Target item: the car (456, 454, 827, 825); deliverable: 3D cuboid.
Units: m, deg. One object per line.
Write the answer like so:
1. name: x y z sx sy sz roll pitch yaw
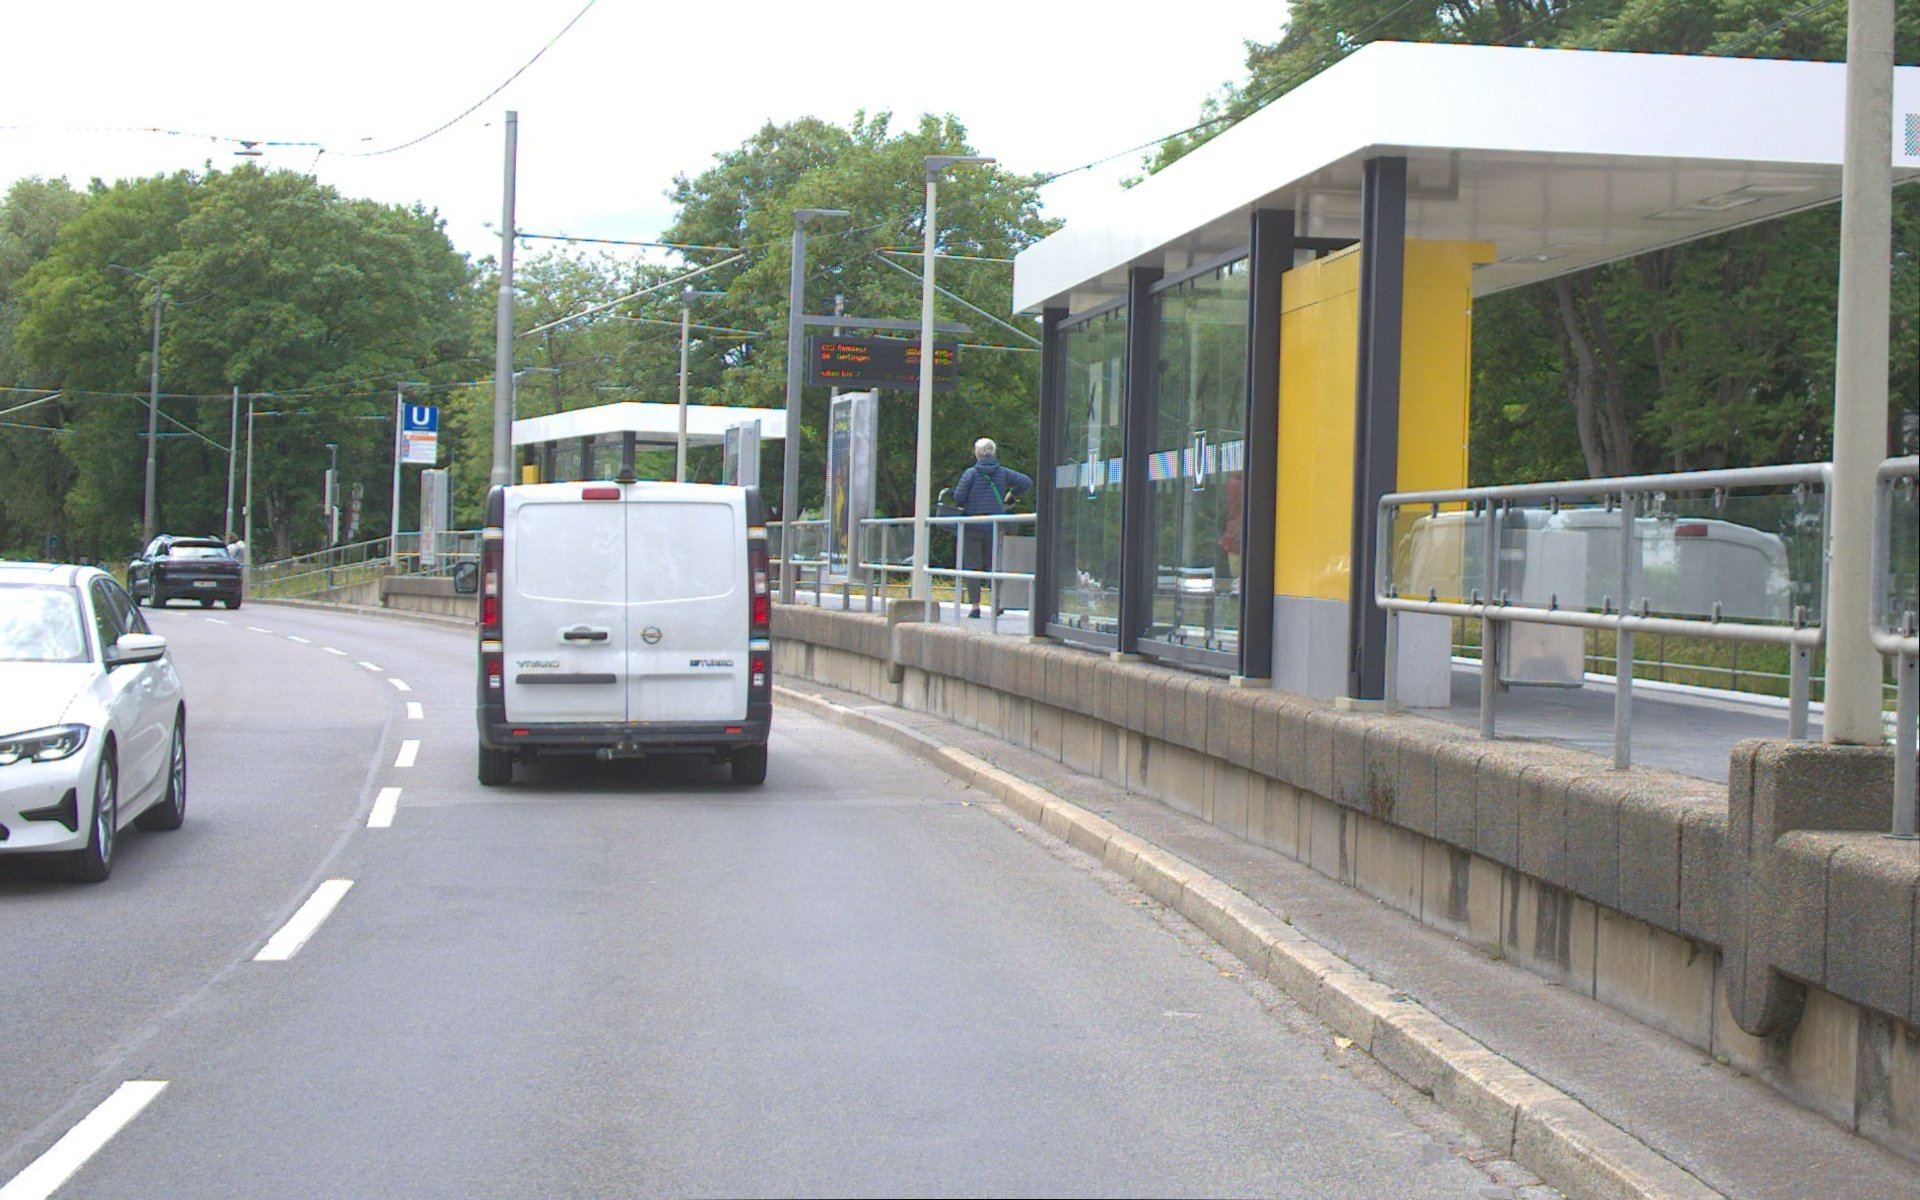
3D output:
1. car: -2.163 0.206 23.373 2.116 2.127 5.442 3 0 -5

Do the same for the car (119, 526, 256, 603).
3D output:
1. car: -17.312 -0.804 76.905 2.354 1.559 4.374 3 0 -20

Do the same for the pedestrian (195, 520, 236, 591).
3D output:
1. pedestrian: -18.923 -1.133 87.396 0.759 1.789 0.630 1 1 -42

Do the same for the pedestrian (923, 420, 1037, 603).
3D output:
1. pedestrian: 0.182 -0.823 32.277 0.885 1.665 0.910 2 1 -8

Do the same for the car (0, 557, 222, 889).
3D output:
1. car: -4.881 0.511 16.993 1.818 1.414 4.464 -1 1 -4

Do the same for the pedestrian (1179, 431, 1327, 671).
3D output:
1. pedestrian: 1.624 -0.273 19.165 0.620 1.294 0.720 2 0 -9

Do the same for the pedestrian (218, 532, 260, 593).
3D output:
1. pedestrian: -17.943 -0.929 85.565 0.759 1.487 0.630 1 1 -42
